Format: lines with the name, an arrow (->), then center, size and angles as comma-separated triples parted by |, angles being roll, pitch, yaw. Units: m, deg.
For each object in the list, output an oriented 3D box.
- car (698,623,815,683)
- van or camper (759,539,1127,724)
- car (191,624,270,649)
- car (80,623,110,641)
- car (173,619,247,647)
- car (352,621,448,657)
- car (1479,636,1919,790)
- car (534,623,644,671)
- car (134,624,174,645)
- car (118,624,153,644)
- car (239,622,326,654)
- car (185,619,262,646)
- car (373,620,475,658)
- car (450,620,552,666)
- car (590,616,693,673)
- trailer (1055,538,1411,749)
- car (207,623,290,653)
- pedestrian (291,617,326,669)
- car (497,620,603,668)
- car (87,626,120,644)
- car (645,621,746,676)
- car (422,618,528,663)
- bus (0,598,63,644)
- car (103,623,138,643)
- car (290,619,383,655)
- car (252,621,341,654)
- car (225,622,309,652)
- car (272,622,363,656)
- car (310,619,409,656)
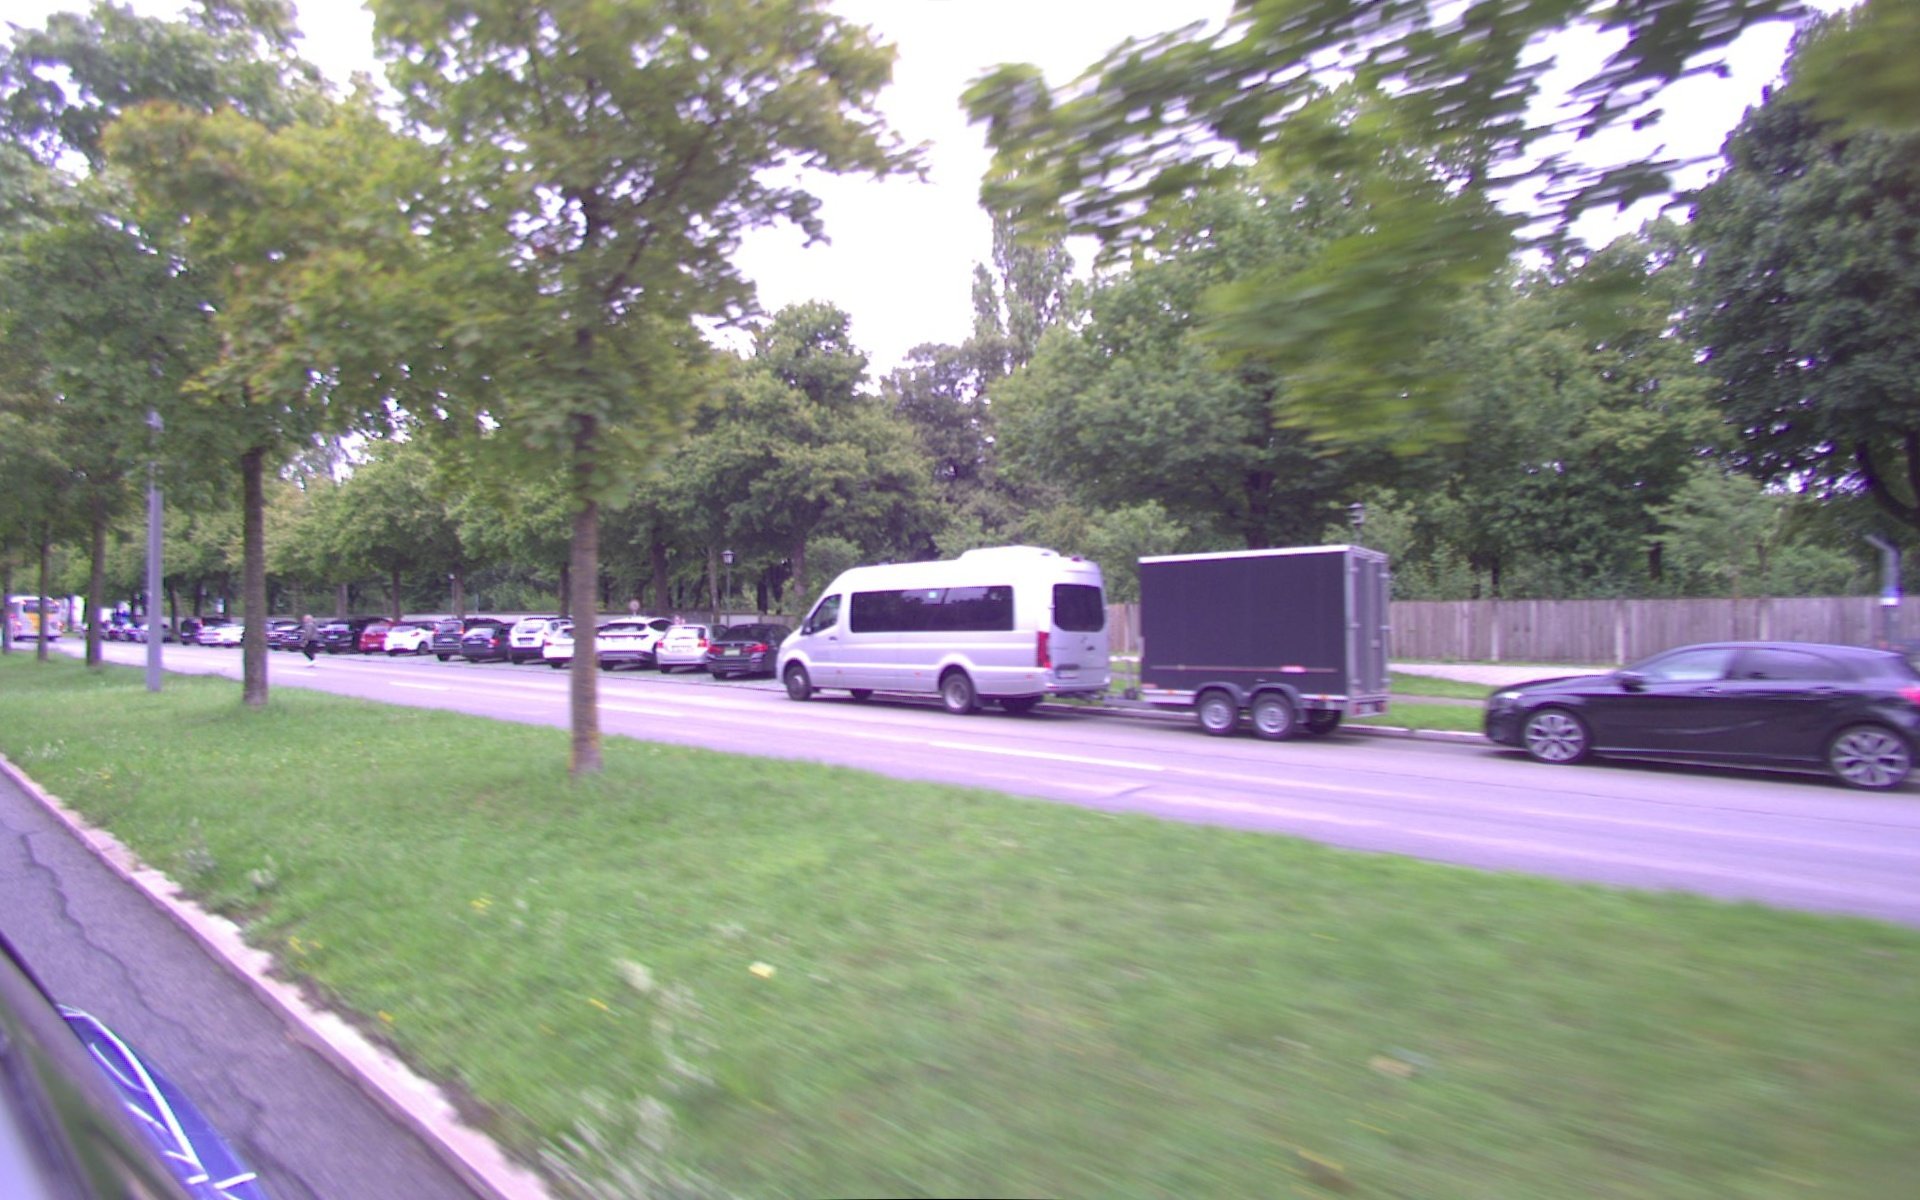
car -> -5.575, 1.429, 28.174 | 1.783, 1.445, 3.985 | -1, 0, 12
van or camper -> -0.631, 0.589, 18.916 | 7.544, 2.859, 2.013 | -1, -3, 42
car -> -45.389, 2.263, 63.070 | 1.575, 1.376, 3.986 | -1, 0, 11
car -> -78.454, 2.873, 91.772 | 1.863, 1.454, 4.172 | -1, 0, -44
car -> -50.188, 2.171, 67.812 | 1.761, 1.741, 3.991 | -1, 0, 7
car -> -26.409, 1.826, 47.883 | 1.723, 1.466, 3.982 | -2, 0, 14
car -> 8.247, 1.117, 11.107 | 4.237, 1.394, 1.781 | -1, -3, 42
car -> -12.636, 1.558, 34.729 | 1.780, 1.449, 4.315 | -1, 0, 7
car -> -59.256, 2.518, 74.388 | 1.863, 1.454, 4.172 | -1, 0, -44
car -> -63.900, 2.625, 78.423 | 1.717, 1.381, 4.172 | -1, 0, -44
car -> -38.555, 2.135, 57.699 | 1.870, 1.569, 3.989 | -2, 0, 9
car -> -47.844, 2.096, 65.823 | 1.869, 1.654, 3.991 | -1, 0, 7
car -> -24.174, 1.717, 45.811 | 1.873, 1.474, 3.982 | -2, 0, 14
car -> -17.666, 1.623, 39.144 | 1.780, 1.497, 3.992 | -2, 0, 7
car -> -10.218, 1.392, 32.787 | 1.779, 1.635, 3.993 | -1, 0, 6
trailer -> 3.859, 0.613, 14.852 | 4.657, 2.610, 1.995 | -1, -3, 42
car -> -42.902, 2.246, 61.137 | 1.870, 1.569, 3.989 | -2, 0, 9
pedestrian -> -21.678, 1.416, 33.695 | 0.859, 1.711, 0.773 | 2, -1, -28
car -> -15.107, 1.586, 37.542 | 1.780, 1.585, 4.315 | -1, 0, 7
car -> -74.354, 2.993, 87.821 | 1.863, 1.454, 4.172 | -1, 0, -44
car -> -8.050, 1.433, 31.128 | 1.779, 1.477, 3.994 | -1, 0, 5
car -> -19.705, 1.624, 41.300 | 1.783, 1.599, 3.984 | -2, 0, 13
bus -> -71.822, 1.601, 78.035 | 11.924, 3.323, 2.640 | -1, -3, 43
car -> -68.203, 2.658, 82.212 | 1.863, 1.454, 4.172 | -1, 0, -44
car -> -31.398, 1.840, 51.098 | 1.870, 1.569, 3.989 | -2, 0, 9
car -> -36.121, 2.040, 55.209 | 1.870, 1.569, 3.989 | -2, 0, 9
car -> -40.841, 2.160, 59.750 | 1.870, 1.569, 3.989 | -2, 0, 9
car -> -33.827, 2.037, 53.384 | 1.870, 1.569, 3.989 | -2, 0, 9
car -> -29.162, 1.816, 49.275 | 1.873, 1.569, 3.982 | -2, 0, 14
